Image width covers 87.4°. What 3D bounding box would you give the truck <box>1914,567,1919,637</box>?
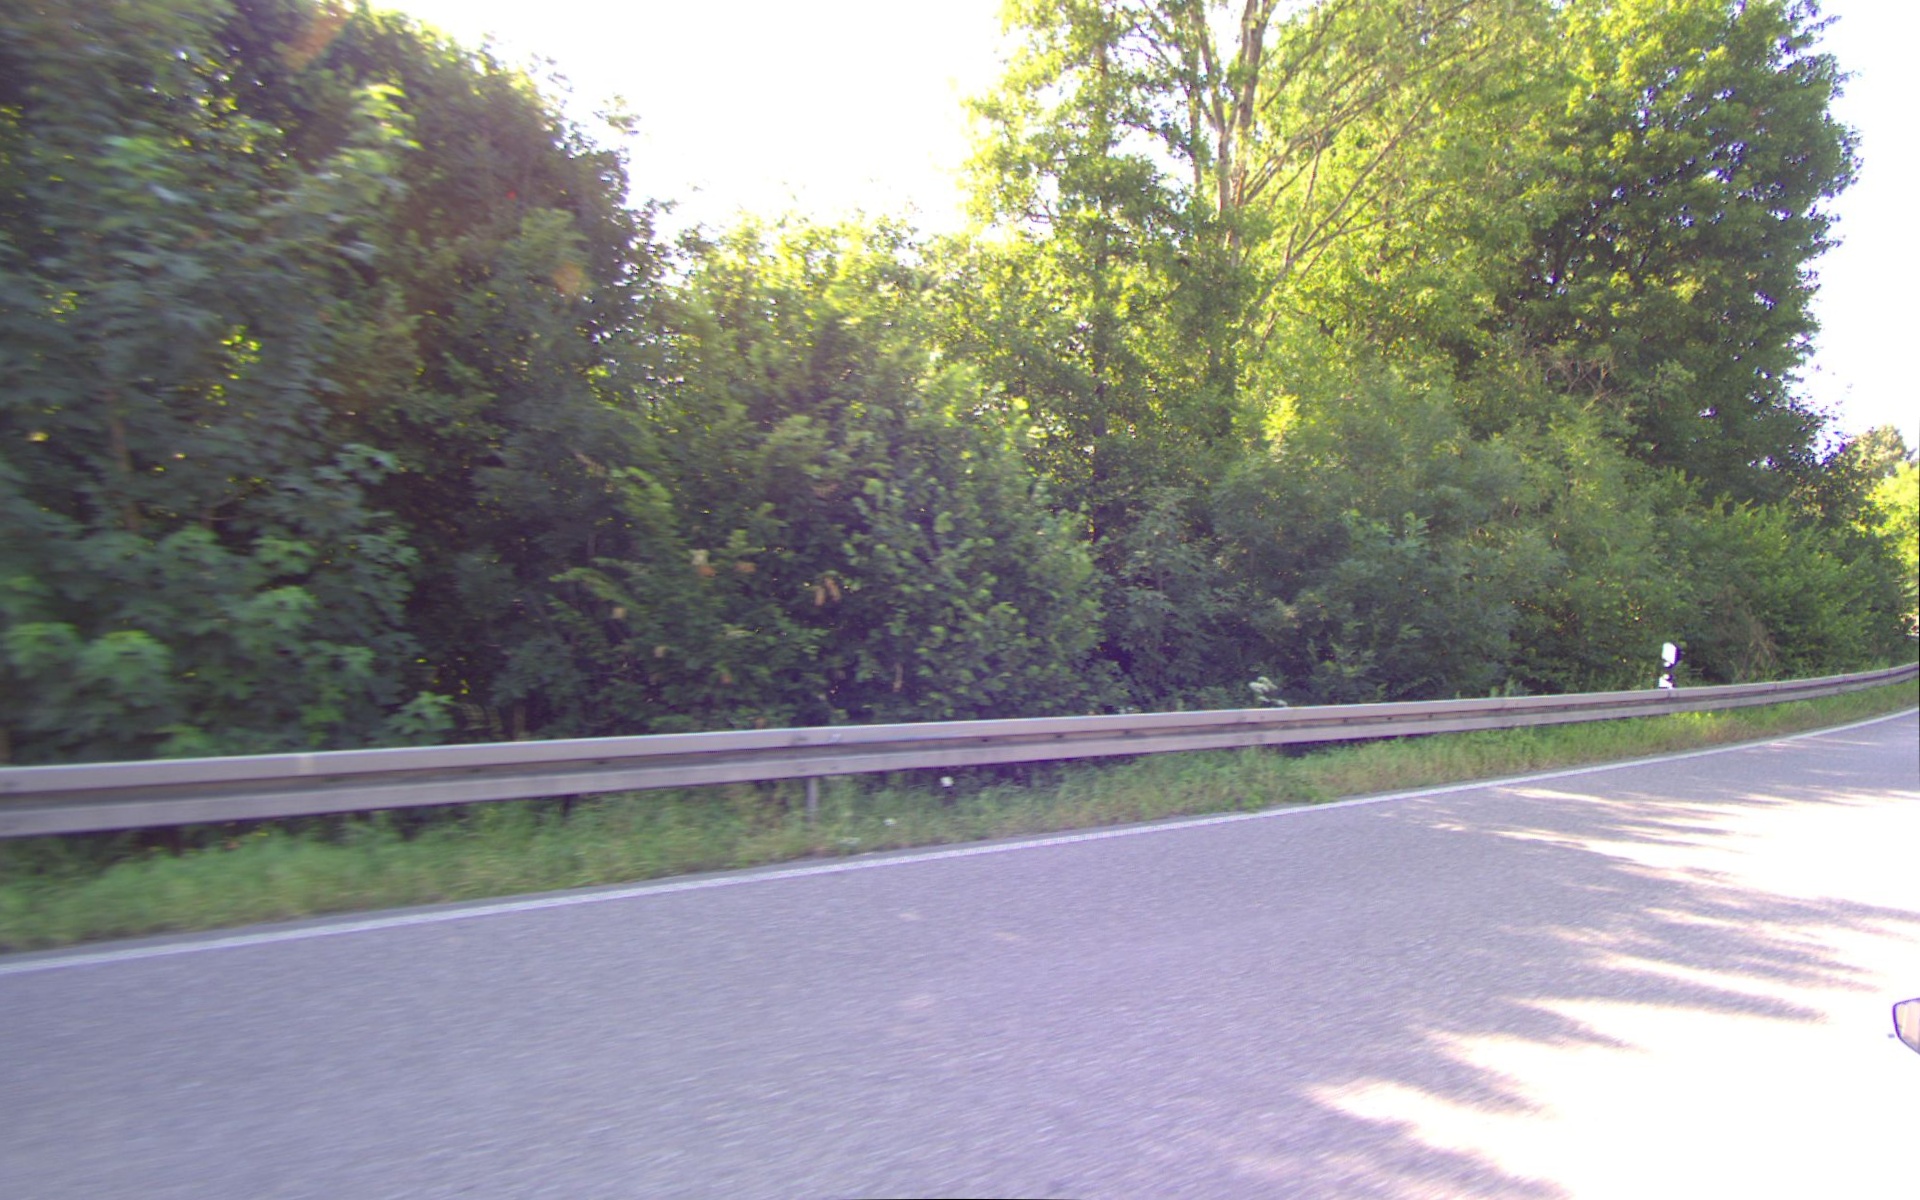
[{"bbox_3d":[56.778,0.220,56.057,3.399,4.141,6.478,4,2,29],"label":"truck"}]
